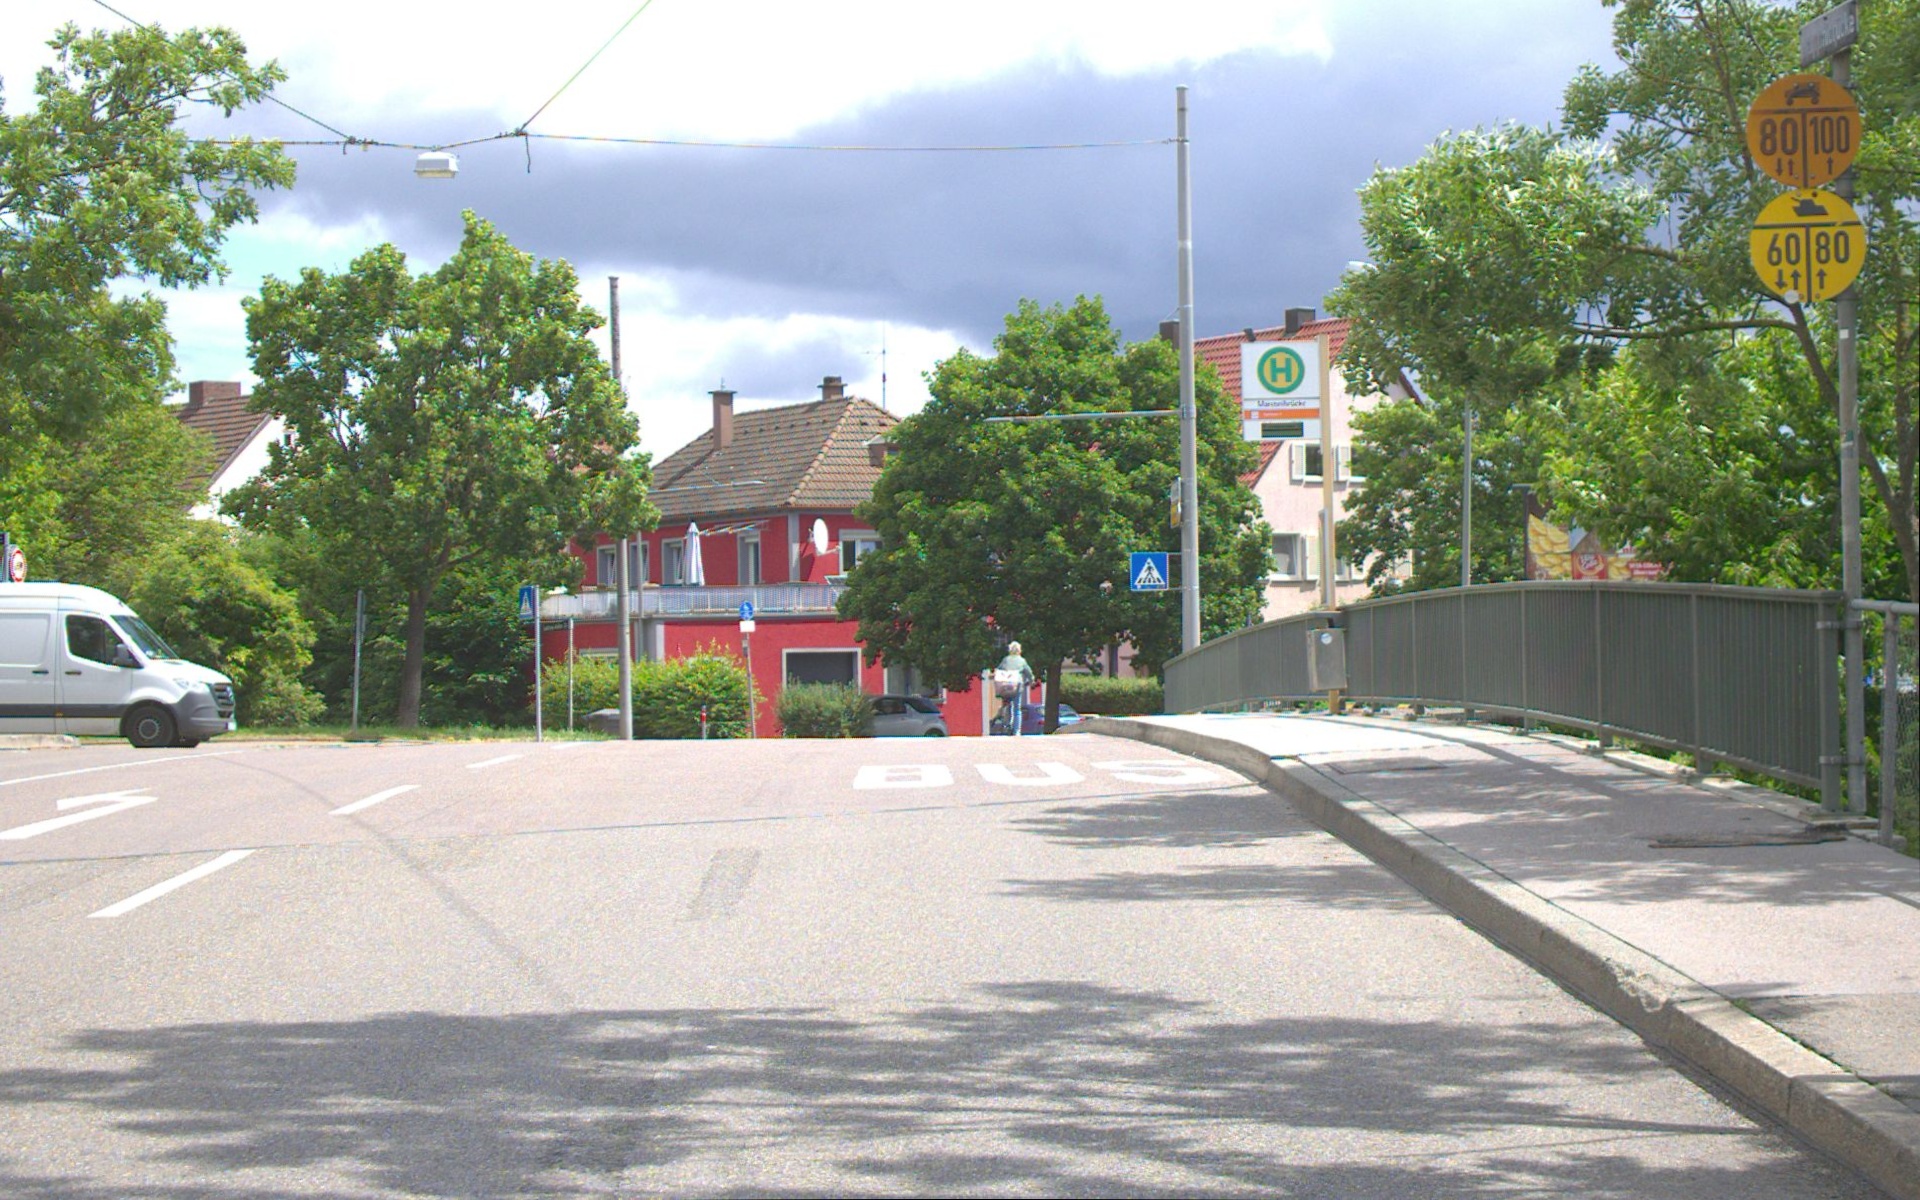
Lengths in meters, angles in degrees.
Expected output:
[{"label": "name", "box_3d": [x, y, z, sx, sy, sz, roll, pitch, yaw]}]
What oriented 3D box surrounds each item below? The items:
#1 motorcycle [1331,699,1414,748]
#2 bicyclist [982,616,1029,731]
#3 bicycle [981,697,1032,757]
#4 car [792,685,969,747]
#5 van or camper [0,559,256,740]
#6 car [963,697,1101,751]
[{"label": "motorcycle", "box_3d": [11.588, 3.475, 96.555, 2.228, 1.311, 0.920, 3, -3, -34]}, {"label": "bicyclist", "box_3d": [0.751, 1.206, 56.056, 0.684, 1.820, 1.080, 0, -5, 4]}, {"label": "bicycle", "box_3d": [0.765, 2.086, 56.122, 0.688, 0.875, 2.101, 0, -5, 4]}, {"label": "car", "box_3d": [-1.954, 2.847, 84.489, 4.064, 1.421, 1.645, 3, -2, -33]}, {"label": "van or camper", "box_3d": [-13.927, 0.811, 52.362, 5.909, 2.559, 2.193, -2, -3, 1]}, {"label": "car", "box_3d": [1.885, 3.311, 91.046, 1.837, 1.373, 3.813, 2, -3, -32]}]
